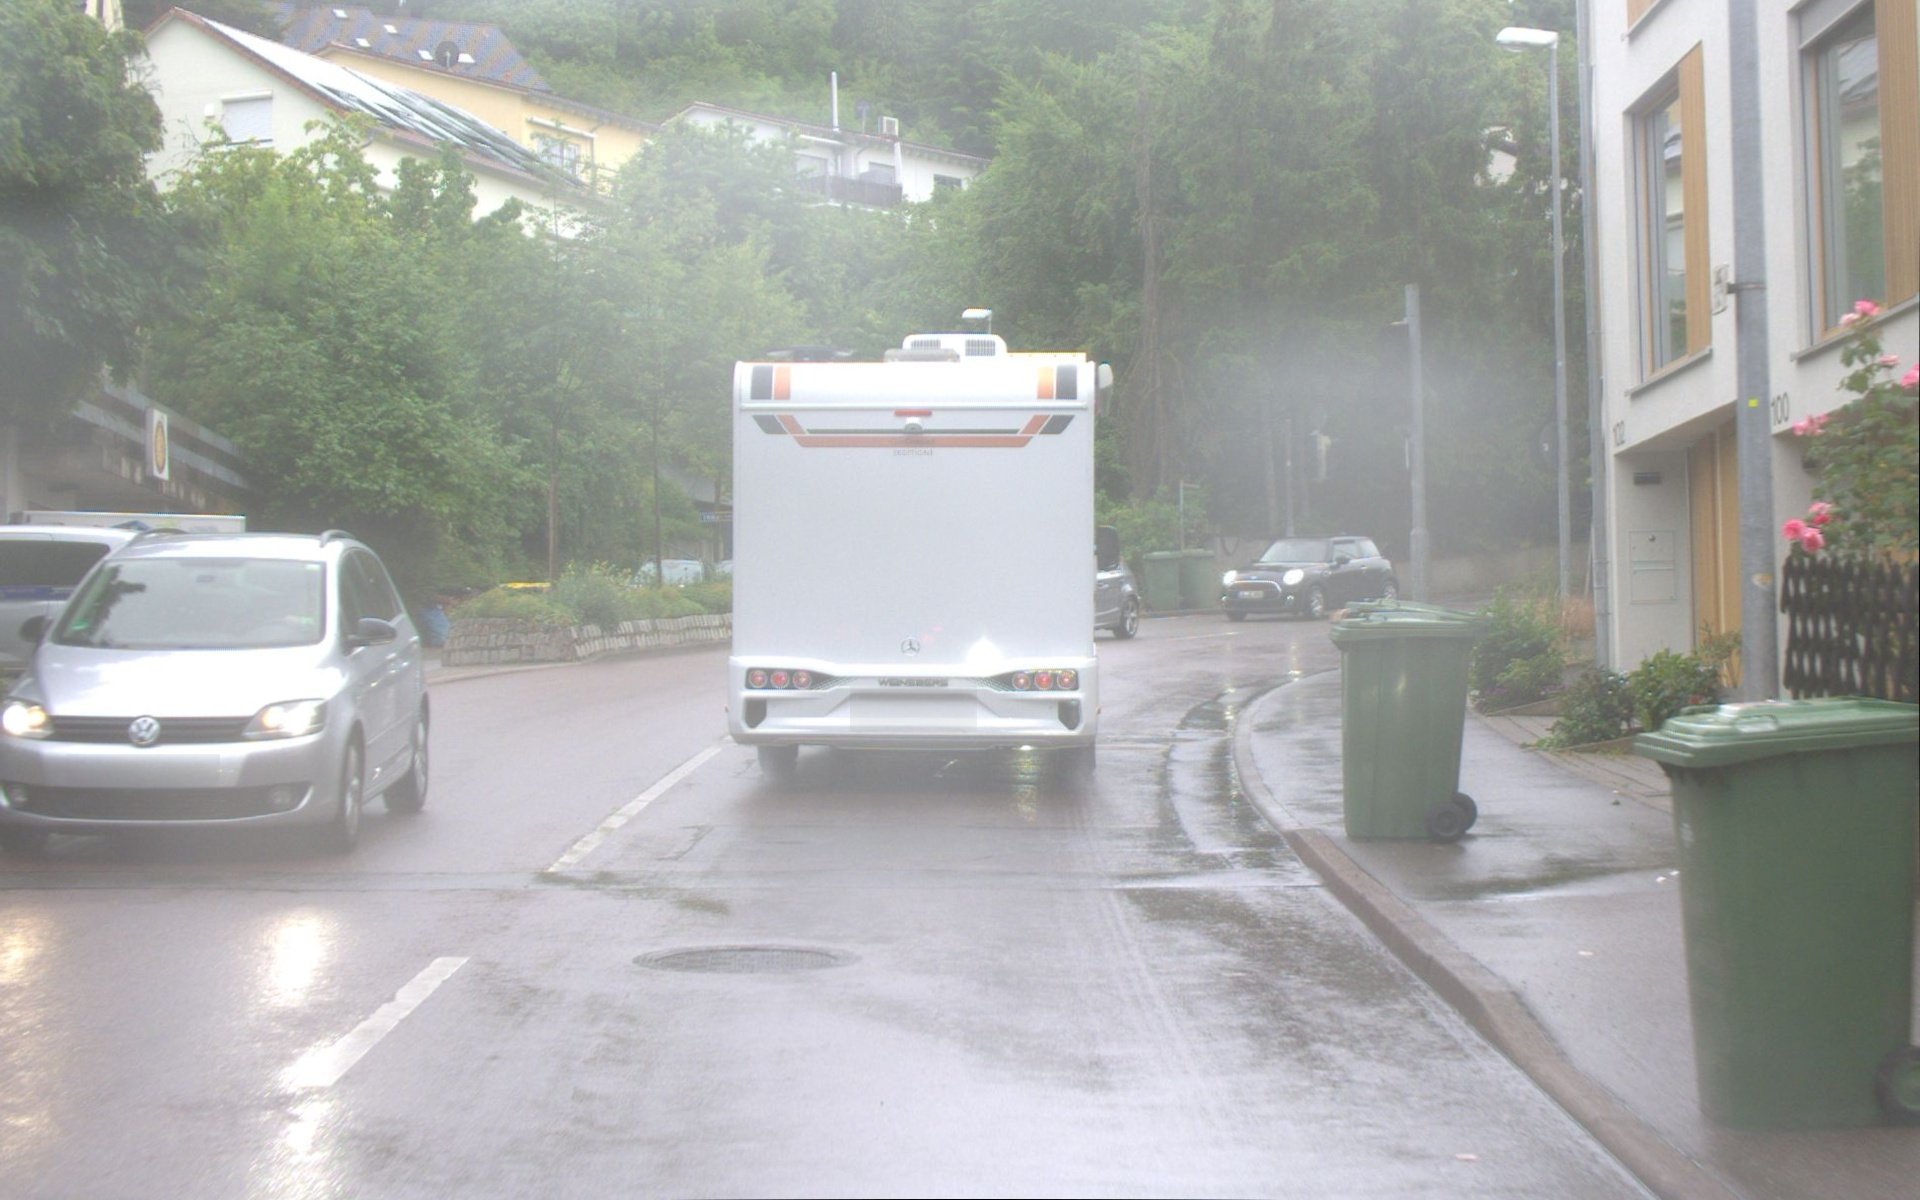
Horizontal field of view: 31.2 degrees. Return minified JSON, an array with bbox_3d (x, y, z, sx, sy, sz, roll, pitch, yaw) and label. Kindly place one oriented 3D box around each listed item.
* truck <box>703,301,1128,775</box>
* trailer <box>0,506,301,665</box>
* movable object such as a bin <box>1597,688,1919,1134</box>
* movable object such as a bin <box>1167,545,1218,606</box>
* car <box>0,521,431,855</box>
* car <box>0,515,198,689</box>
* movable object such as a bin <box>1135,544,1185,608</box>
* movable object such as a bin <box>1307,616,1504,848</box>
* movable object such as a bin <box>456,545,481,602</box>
[{"bbox_3d":[-0.252,-0.422,23.517,2.515,2.808,6.202,0,1,0],"label":"truck"},{"bbox_3d":[-11.440,-0.211,48.193,3.947,2.095,1.954,-2,0,-23],"label":"trailer"},{"bbox_3d":[2.110,0.778,8.865,0.796,1.066,0.761,0,1,1],"label":"movable object such as a bin"},{"bbox_3d":[4.186,-0.444,61.913,0.704,1.084,0.560,0,1,-30],"label":"movable object such as a bin"},{"bbox_3d":[-3.871,0.379,17.890,1.804,1.548,3.830,0,1,-2],"label":"car"},{"bbox_3d":[-10.408,-0.002,36.672,4.106,1.794,2.000,0,1,1],"label":"car"},{"bbox_3d":[3.575,-0.431,61.513,0.666,1.135,0.626,0,1,-30],"label":"movable object such as a bin"},{"bbox_3d":[2.105,0.616,16.322,0.835,1.057,0.750,0,1,0],"label":"movable object such as a bin"},{"bbox_3d":[-9.051,-0.486,63.309,0.348,1.042,0.388,0,1,12],"label":"movable object such as a bin"}]
